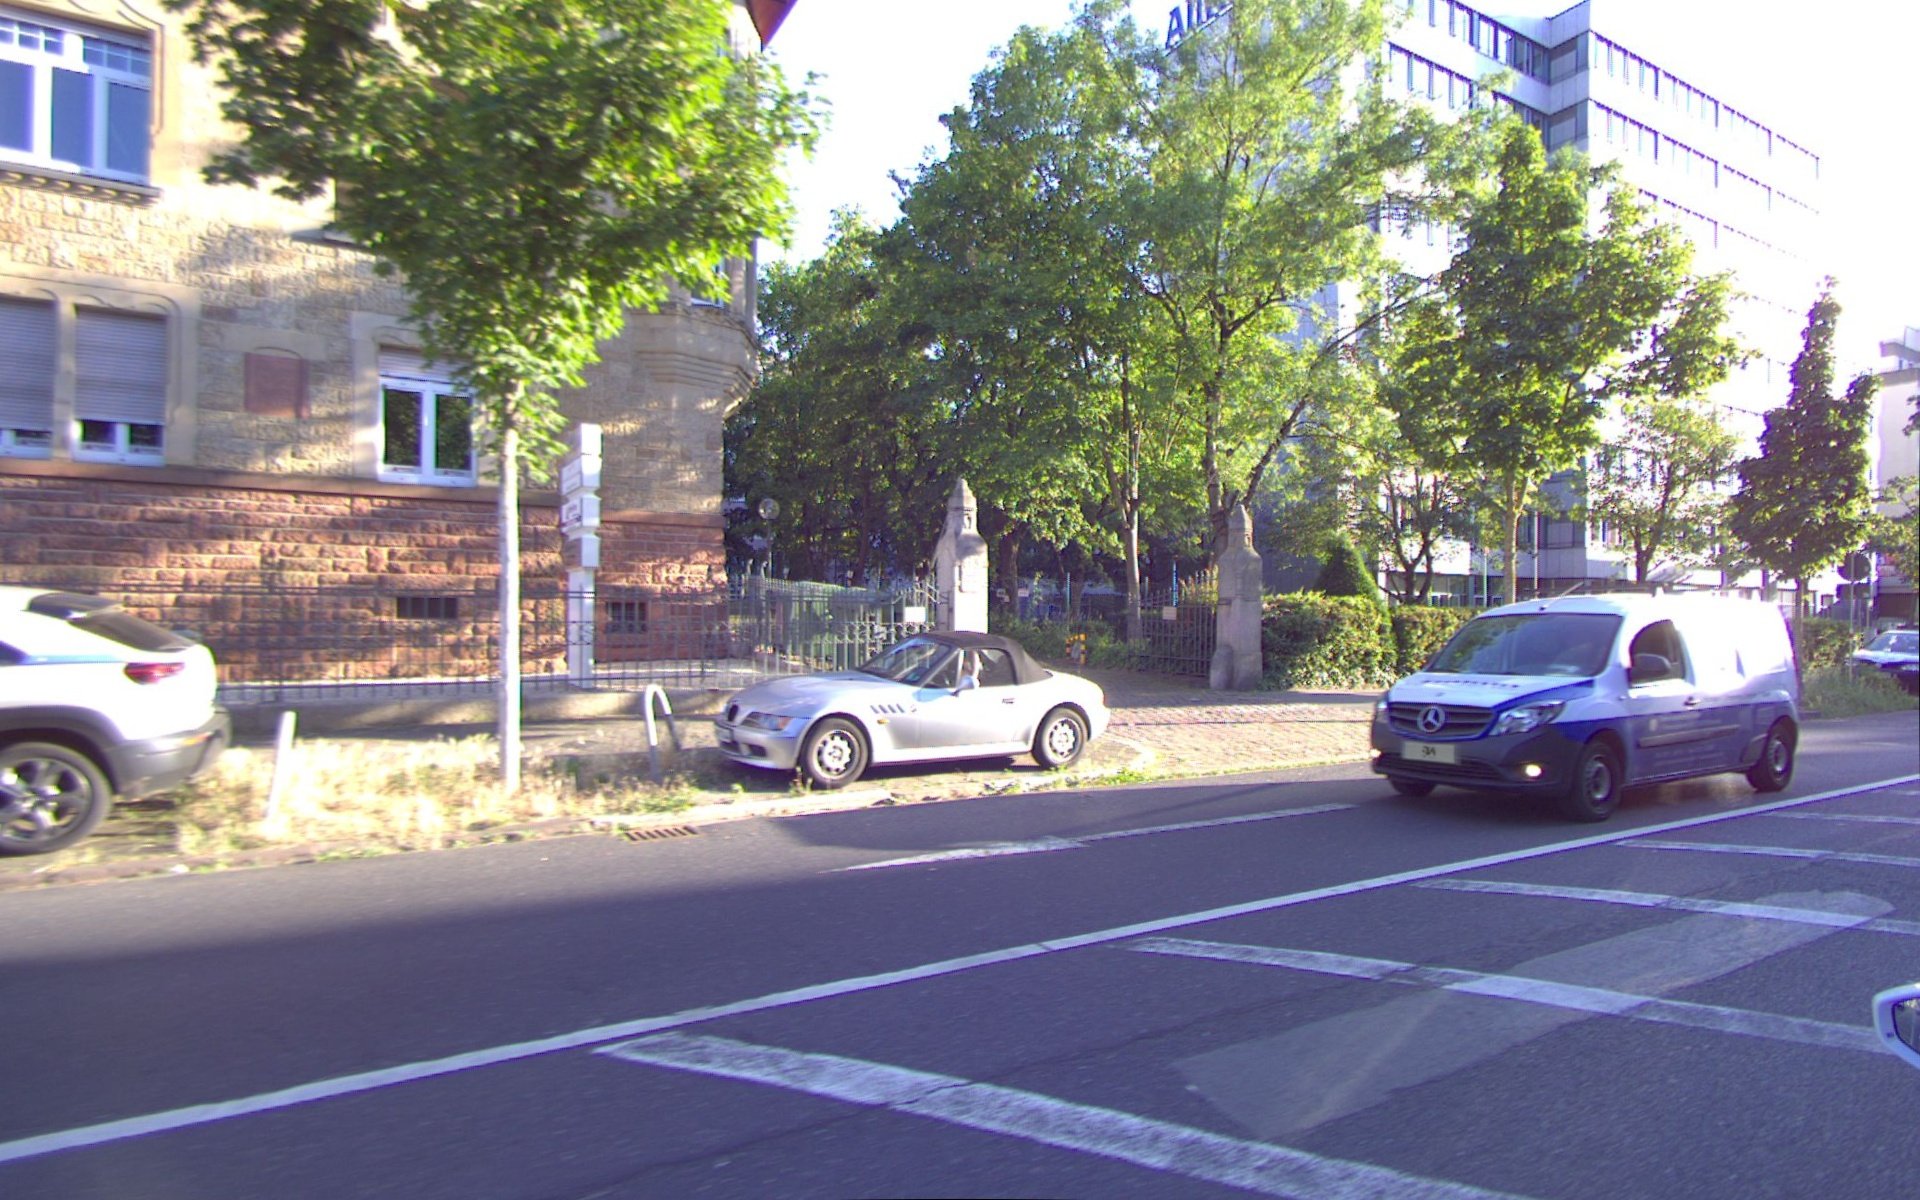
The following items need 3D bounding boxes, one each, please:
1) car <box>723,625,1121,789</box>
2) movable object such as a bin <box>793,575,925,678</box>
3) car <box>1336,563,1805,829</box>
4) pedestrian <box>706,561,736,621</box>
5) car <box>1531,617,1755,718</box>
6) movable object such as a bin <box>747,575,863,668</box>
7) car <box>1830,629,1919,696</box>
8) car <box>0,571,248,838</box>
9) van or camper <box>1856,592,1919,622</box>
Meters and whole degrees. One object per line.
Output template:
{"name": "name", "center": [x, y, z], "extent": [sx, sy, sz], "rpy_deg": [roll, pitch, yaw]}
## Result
{"name": "car", "center": [-0.314, 0.919, 9.754], "extent": [3.573, 1.265, 1.527], "rpy_deg": [1, 1, -32]}
{"name": "movable object such as a bin", "center": [-1.626, 0.385, 15.861], "extent": [1.314, 1.397, 1.930], "rpy_deg": [2, 4, -31]}
{"name": "car", "center": [5.588, 0.747, 9.055], "extent": [4.424, 1.877, 1.823], "rpy_deg": [1, -2, -32]}
{"name": "pedestrian", "center": [-6.982, -0.261, 29.366], "extent": [0.689, 1.720, 0.581], "rpy_deg": [1, 0, -29]}
{"name": "car", "center": [11.675, 1.081, 17.119], "extent": [3.955, 1.471, 1.687], "rpy_deg": [1, 1, -32]}
{"name": "movable object such as a bin", "center": [-2.735, 0.346, 17.564], "extent": [1.314, 1.397, 1.930], "rpy_deg": [2, 4, -31]}
{"name": "car", "center": [22.241, 1.420, 23.578], "extent": [3.955, 1.404, 1.629], "rpy_deg": [1, 1, -32]}
{"name": "car", "center": [-6.999, 0.580, 6.065], "extent": [4.254, 1.555, 1.736], "rpy_deg": [1, 1, -32]}
{"name": "van or camper", "center": [85.497, 0.640, 90.623], "extent": [2.422, 2.556, 6.527], "rpy_deg": [1, 1, -32]}
